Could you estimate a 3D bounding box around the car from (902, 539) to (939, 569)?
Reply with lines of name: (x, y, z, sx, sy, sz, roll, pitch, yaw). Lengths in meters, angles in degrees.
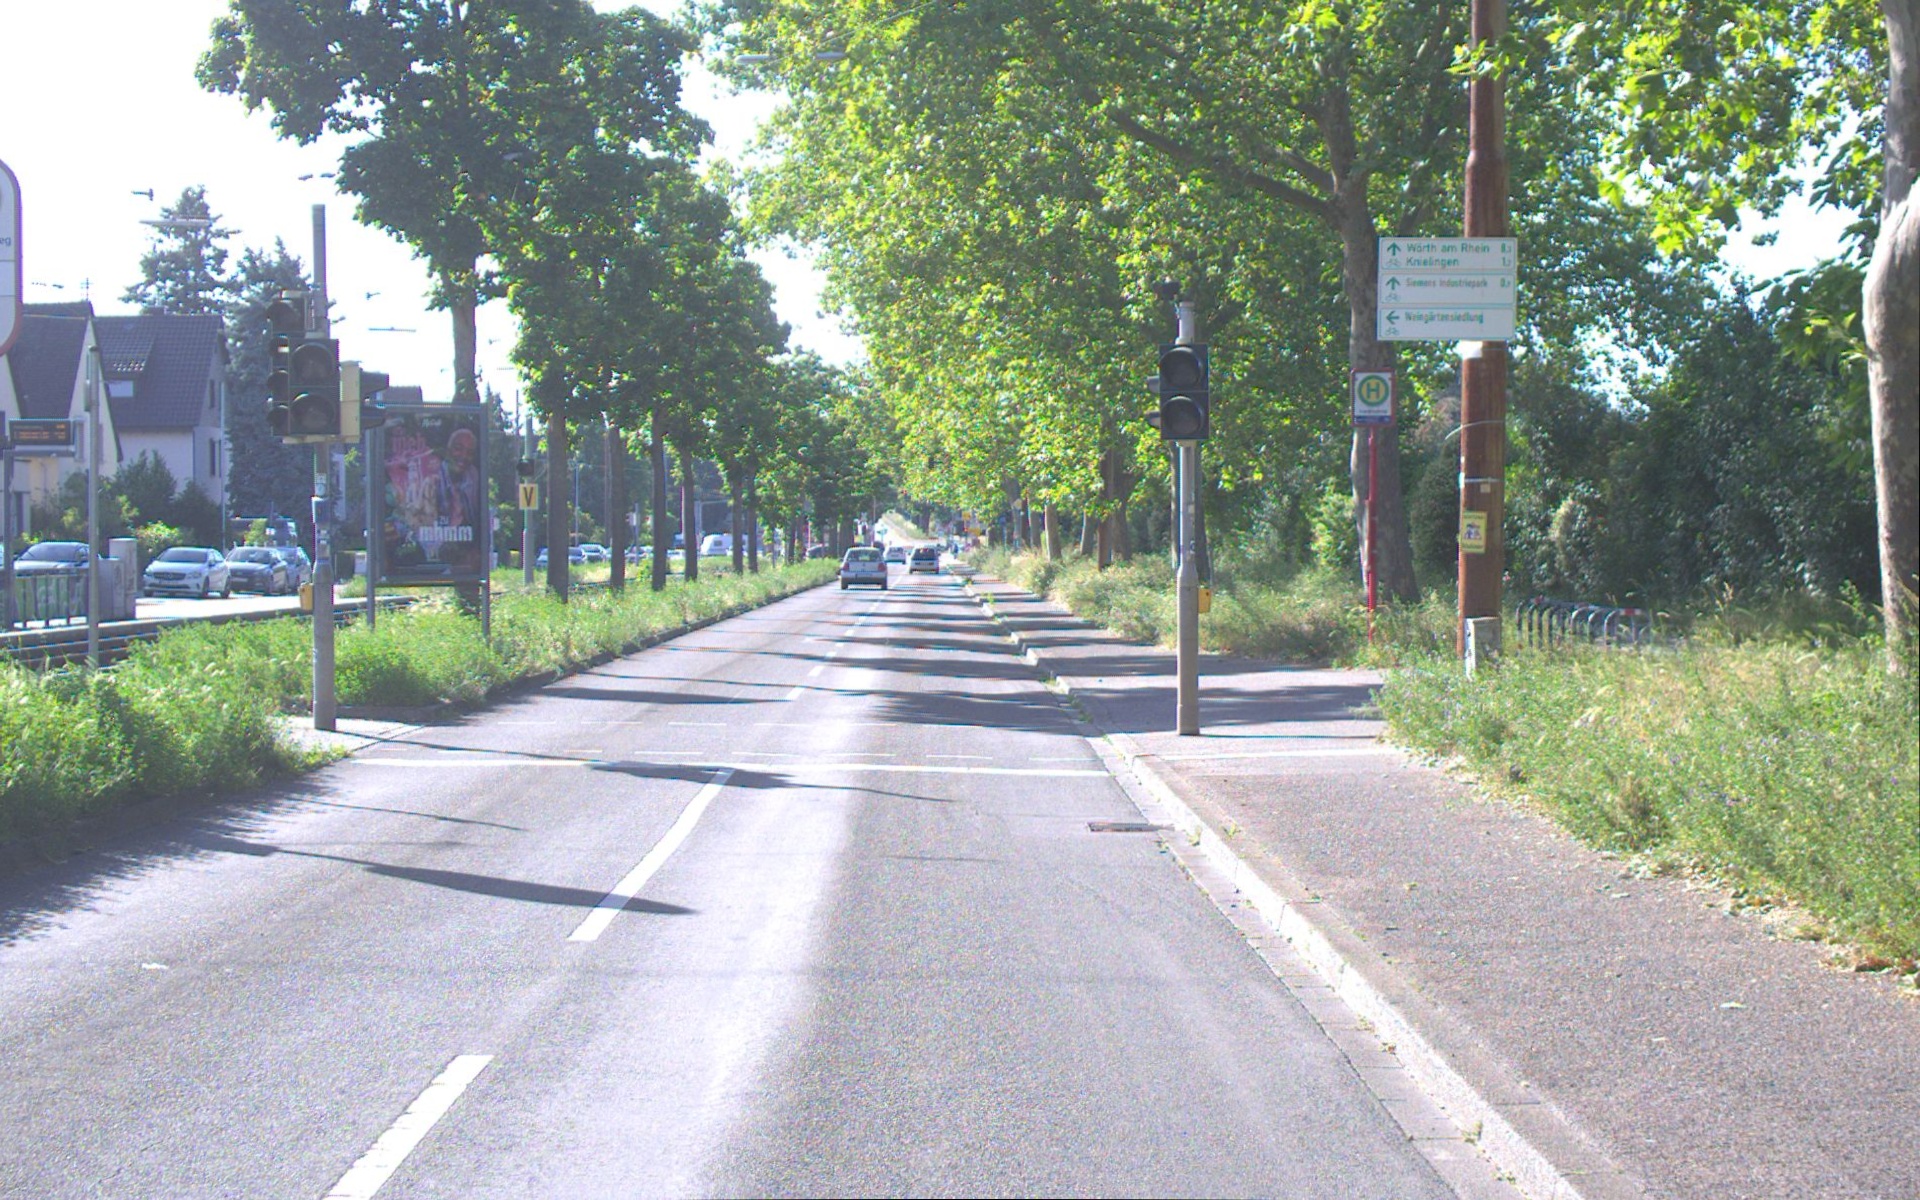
car: (-2.187, -2.547, 191.359, 1.993, 1.598, 4.474, 1, 1, -1)

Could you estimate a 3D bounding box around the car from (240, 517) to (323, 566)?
car: (-22.423, -1.922, 113.723, 1.946, 1.548, 4.057, 1, 1, -1)

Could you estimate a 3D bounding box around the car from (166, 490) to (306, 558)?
car: (-28.380, -3.006, 134.854, 5.028, 2.616, 2.103, 0, 2, 0)

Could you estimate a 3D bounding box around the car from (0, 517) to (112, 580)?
car: (-22.719, -1.287, 86.100, 1.926, 1.490, 4.256, 1, 1, -1)

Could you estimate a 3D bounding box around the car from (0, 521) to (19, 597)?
car: (-22.526, -0.941, 76.496, 1.993, 1.707, 4.391, 1, 1, -1)

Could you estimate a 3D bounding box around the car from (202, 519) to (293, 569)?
car: (-22.558, -1.763, 108.944, 1.993, 1.445, 4.128, 3, 1, -1)

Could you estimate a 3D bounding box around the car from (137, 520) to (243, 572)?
car: (-22.370, -1.571, 100.023, 1.993, 1.421, 4.410, 1, 1, 1)

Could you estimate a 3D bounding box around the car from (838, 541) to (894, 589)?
car: (-3.272, -1.245, 120.344, 1.860, 1.595, 4.228, 1, 1, -1)

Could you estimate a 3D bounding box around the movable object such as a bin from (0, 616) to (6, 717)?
movable object such as a bin: (-5.717, 0.378, 19.633, 0.386, 0.580, 0.379, 1, 1, 8)
